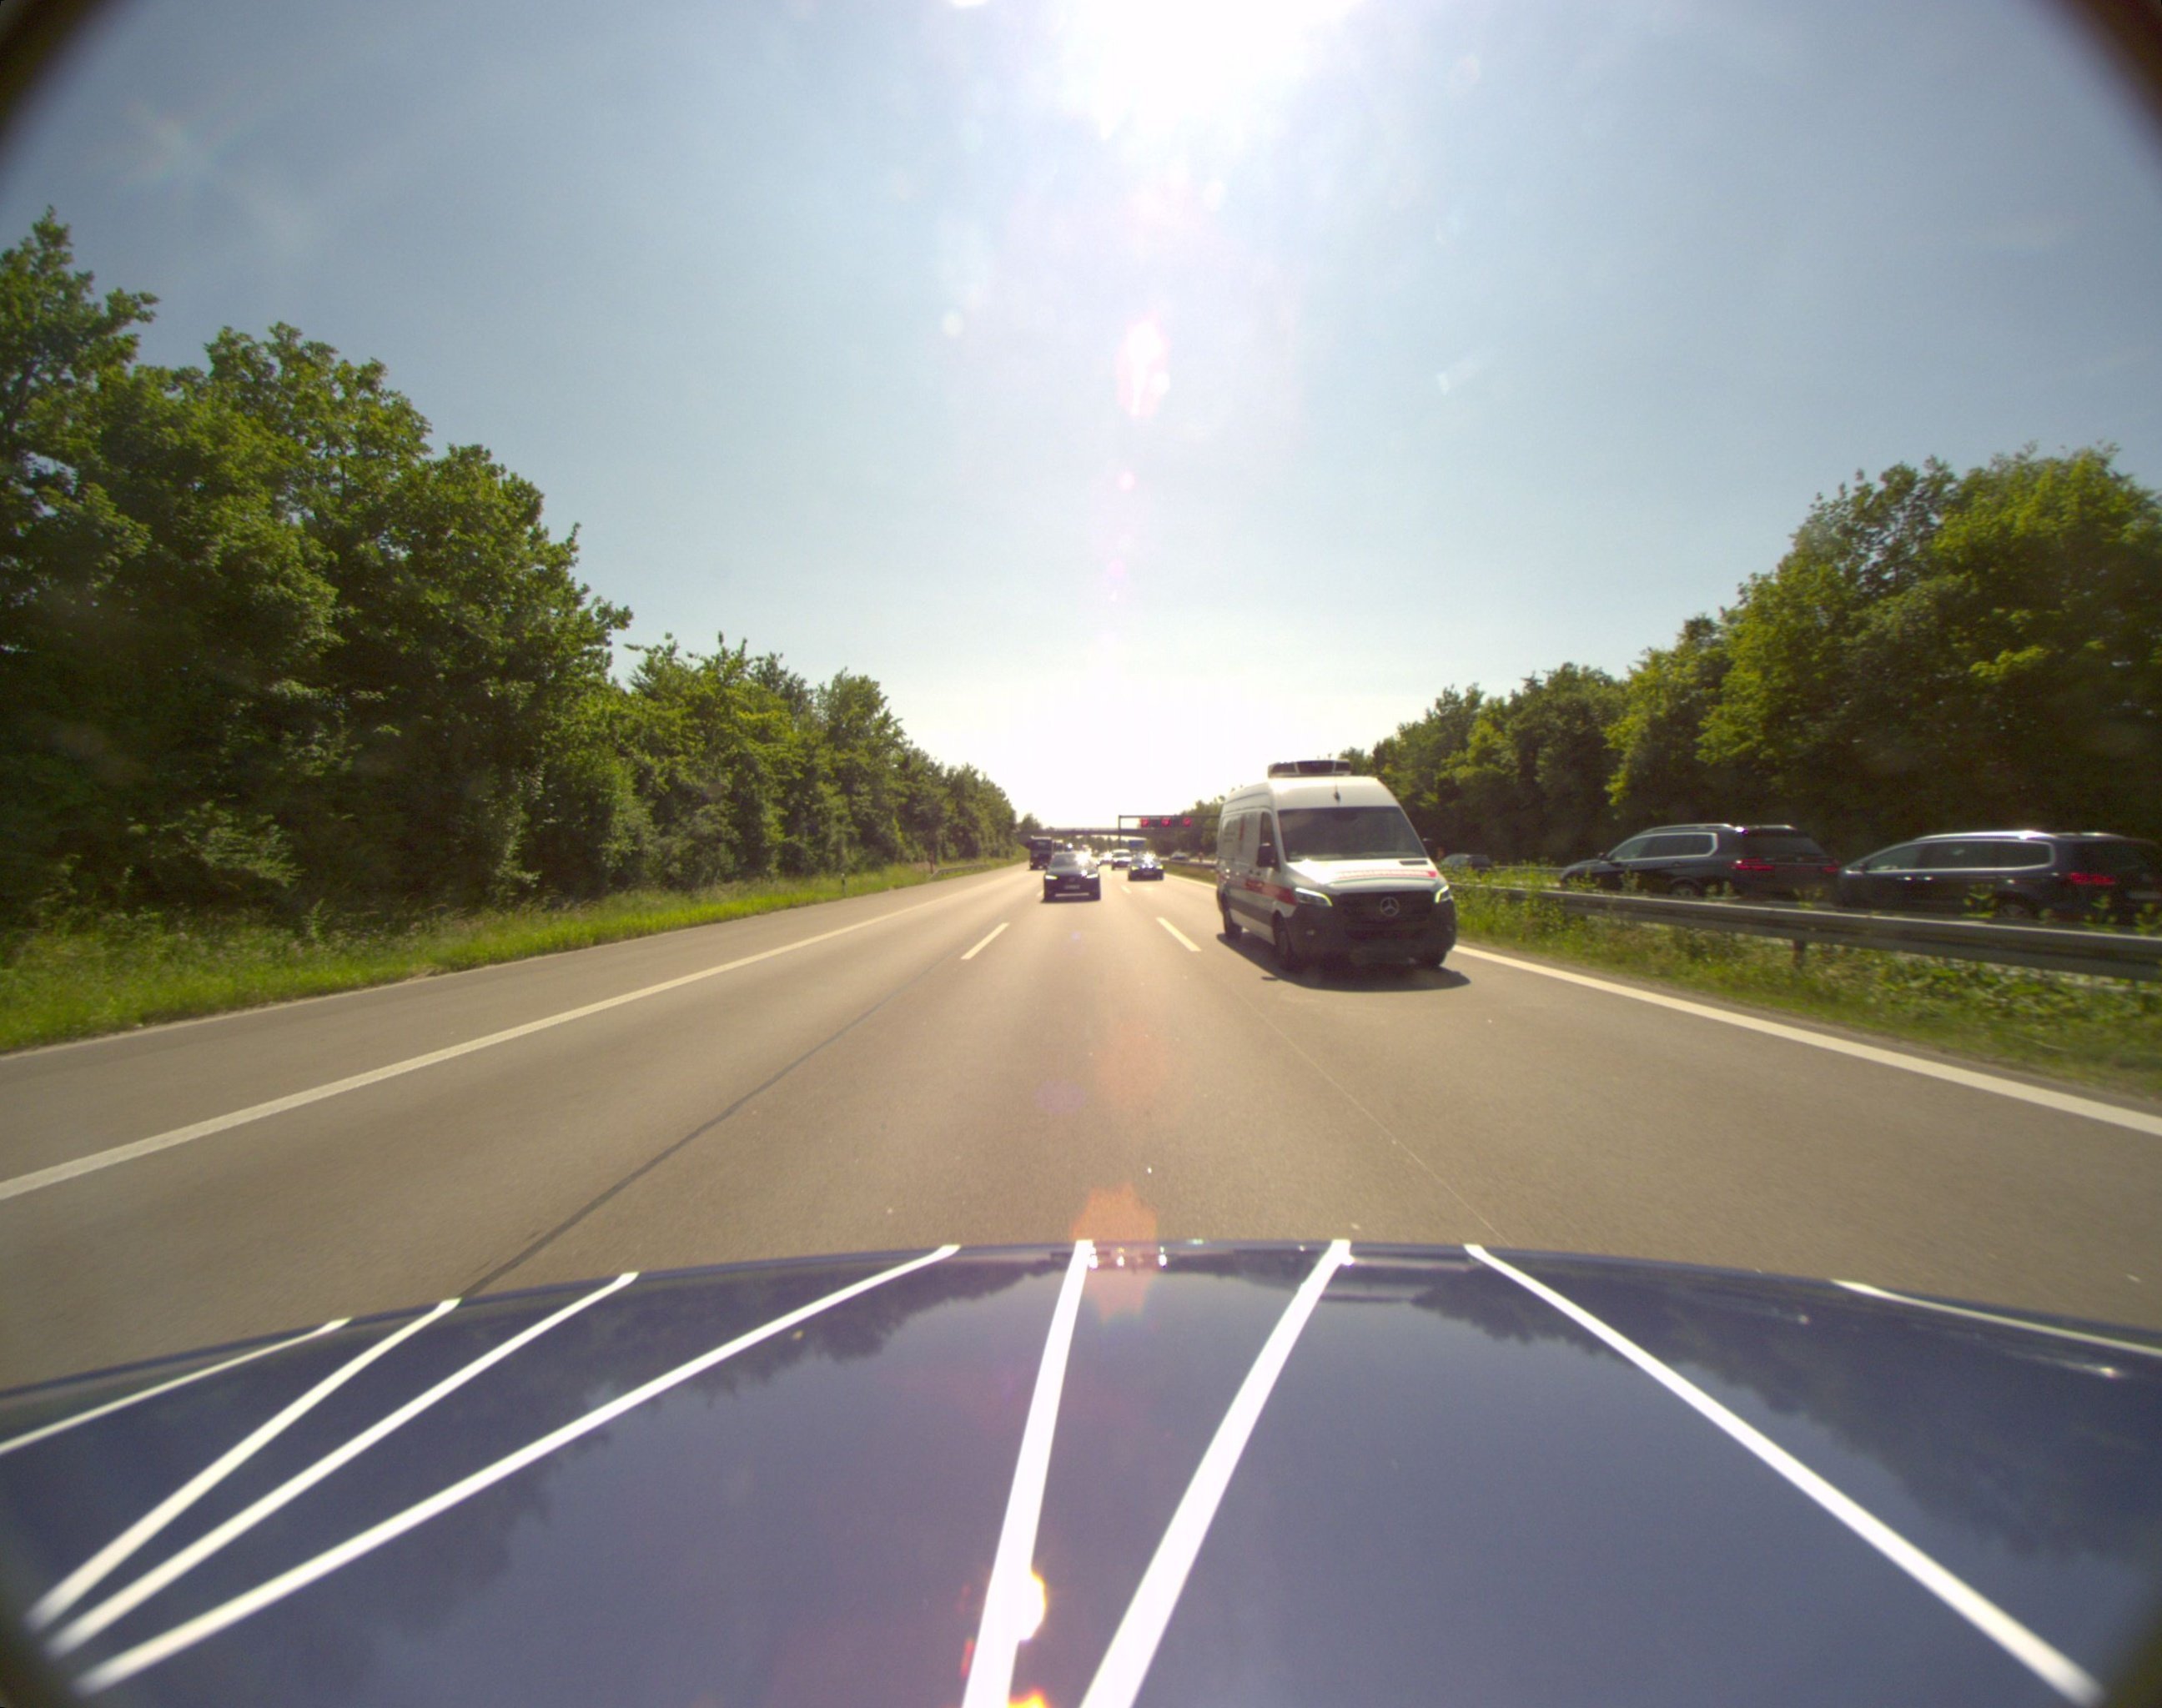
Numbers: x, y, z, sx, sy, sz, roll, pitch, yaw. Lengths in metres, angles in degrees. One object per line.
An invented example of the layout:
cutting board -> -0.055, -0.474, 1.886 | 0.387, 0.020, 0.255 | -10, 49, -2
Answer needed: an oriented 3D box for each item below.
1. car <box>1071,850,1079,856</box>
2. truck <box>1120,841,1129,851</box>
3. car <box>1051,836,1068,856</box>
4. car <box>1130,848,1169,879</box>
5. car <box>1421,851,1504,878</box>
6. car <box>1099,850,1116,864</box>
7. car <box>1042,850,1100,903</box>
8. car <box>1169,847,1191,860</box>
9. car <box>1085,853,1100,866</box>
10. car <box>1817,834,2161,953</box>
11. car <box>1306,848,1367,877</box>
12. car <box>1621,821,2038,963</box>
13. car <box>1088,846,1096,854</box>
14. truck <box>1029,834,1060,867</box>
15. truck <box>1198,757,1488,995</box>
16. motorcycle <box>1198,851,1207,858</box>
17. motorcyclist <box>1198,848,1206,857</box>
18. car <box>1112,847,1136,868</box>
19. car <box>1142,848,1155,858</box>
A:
car -> -1.601, -0.318, 210.768 | 1.998, 1.765, 4.236 | -1, 0, 2
truck -> 14.258, -2.706, 249.372 | 2.785, 3.286, 8.057 | -1, 2, 2
car -> -4.278, -1.643, 153.574 | 3.203, 3.997, 8.124 | 0, 1, -1
car -> 3.744, 0.491, 42.344 | 1.904, 1.616, 4.240 | -1, 0, 2
car -> 19.668, 0.503, 39.462 | 1.751, 1.290, 5.062 | 0, 0, 0
car -> 3.212, 0.376, 93.475 | 1.998, 1.540, 3.999 | -1, 2, 1
car -> -0.281, 0.736, 26.873 | 1.811, 1.648, 4.000 | -2, 1, 2
car -> 11.708, -0.119, 90.303 | 1.998, 1.466, 4.830 | -1, 0, 0
car -> 1.520, 0.771, 102.026 | 1.742, 1.630, 3.845 | 0, 1, 4
car -> 15.583, 0.541, 12.900 | 1.999, 1.680, 4.264 | -1, 0, -1
car -> 12.357, 0.389, 37.023 | 1.672, 1.309, 4.120 | -1, 0, 1
car -> 11.643, 0.487, 12.496 | 1.999, 1.855, 4.897 | -1, 0, -1
car -> 2.775, -1.138, 196.511 | 1.998, 2.002, 4.345 | -1, 0, 2
truck -> -3.829, -0.415, 81.083 | 2.965, 3.388, 8.046 | 0, 1, -1
truck -> 3.396, 0.220, 11.678 | 1.999, 2.527, 6.690 | -2, 0, -1
motorcycle -> 18.341, 0.116, 114.909 | 0.937, 1.012, 2.654 | -1, 0, -1
motorcyclist -> 18.332, -0.243, 114.946 | 0.943, 1.435, 1.356 | -1, 1, -1
car -> 3.824, 0.258, 67.555 | 1.870, 1.713, 3.979 | -1, 2, 0
car -> 12.225, -0.176, 138.210 | 1.694, 1.871, 5.017 | 0, 1, -2
